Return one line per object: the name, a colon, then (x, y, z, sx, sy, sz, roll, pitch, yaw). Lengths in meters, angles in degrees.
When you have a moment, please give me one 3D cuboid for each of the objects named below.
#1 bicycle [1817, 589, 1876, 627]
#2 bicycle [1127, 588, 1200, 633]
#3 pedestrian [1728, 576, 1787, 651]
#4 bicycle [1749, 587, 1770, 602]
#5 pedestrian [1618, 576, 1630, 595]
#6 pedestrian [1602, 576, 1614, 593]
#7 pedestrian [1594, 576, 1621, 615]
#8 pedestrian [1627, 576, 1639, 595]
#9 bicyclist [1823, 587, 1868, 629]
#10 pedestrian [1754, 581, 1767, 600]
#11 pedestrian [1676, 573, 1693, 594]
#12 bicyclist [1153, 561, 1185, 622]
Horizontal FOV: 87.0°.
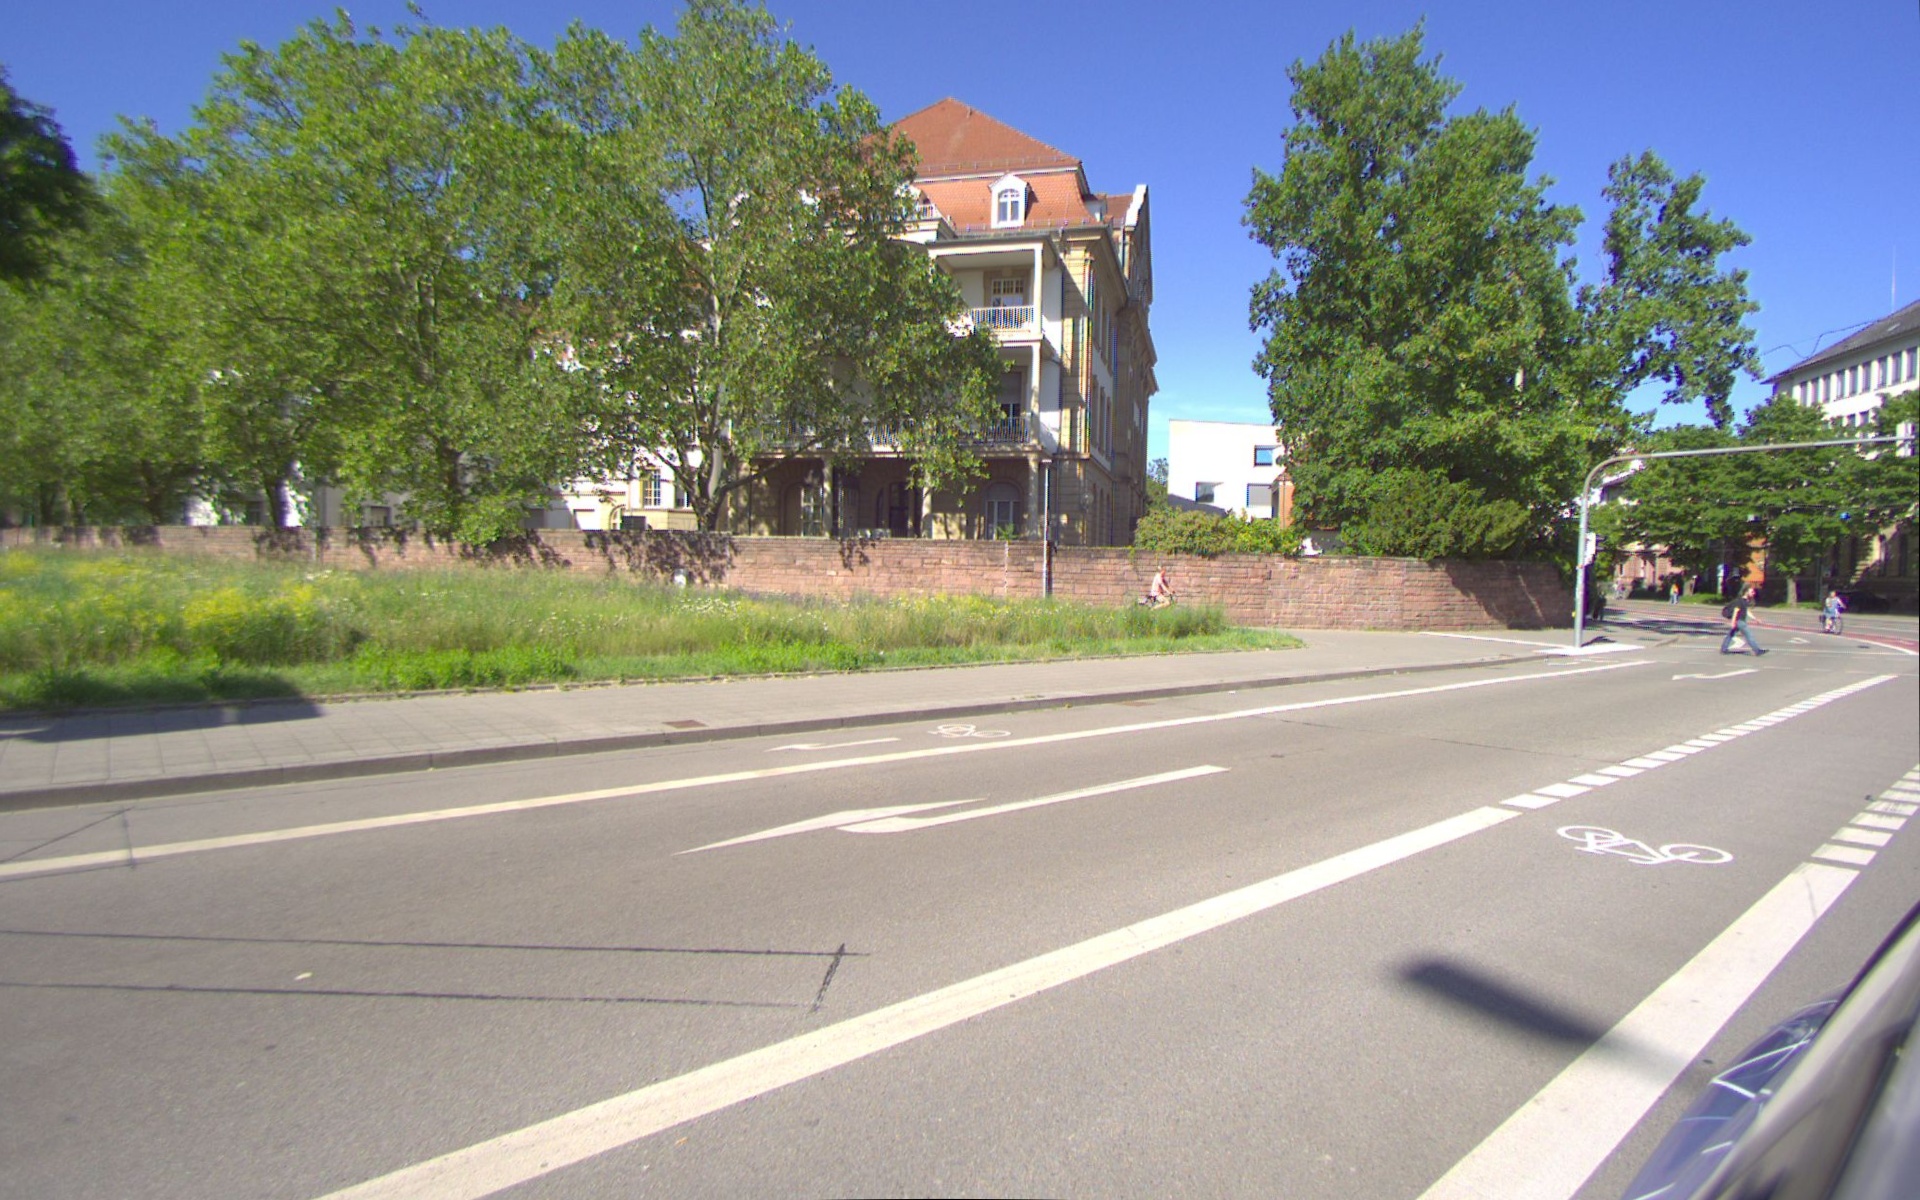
bicycle: (34.870, 0.304, 39.852, 0.753, 1.385, 2.720, 2, 2, 20)
bicycle: (5.539, 0.275, 27.555, 1.859, 1.083, 0.721, 4, 1, 17)
pedestrian: (20.838, 0.338, 26.453, 0.718, 1.872, 0.961, 0, 3, -38)
bicycle: (58.107, -0.407, 73.529, 0.593, 1.019, 1.975, 0, 1, 20)
pedestrian: (66.530, -1.452, 101.386, 0.746, 1.836, 0.976, 1, -2, 14)
pedestrian: (69.887, -1.706, 109.159, 0.745, 1.835, 0.978, 1, 1, 10)
pedestrian: (29.444, -0.230, 46.016, 0.935, 1.742, 0.983, 2, 2, 37)
pedestrian: (67.326, -1.455, 101.200, 0.747, 1.836, 0.975, 1, -2, 17)
bicyclist: (34.838, 0.304, 39.847, 0.859, 1.579, 1.272, 2, 2, 20)
pedestrian: (58.066, -0.686, 73.396, 0.589, 1.420, 0.641, 0, 0, 21)
pedestrian: (63.376, -1.425, 88.523, 0.745, 1.835, 0.978, 1, 1, 9)
bicyclist: (5.686, -0.240, 27.507, 0.767, 1.626, 0.719, 1, 1, 17)
